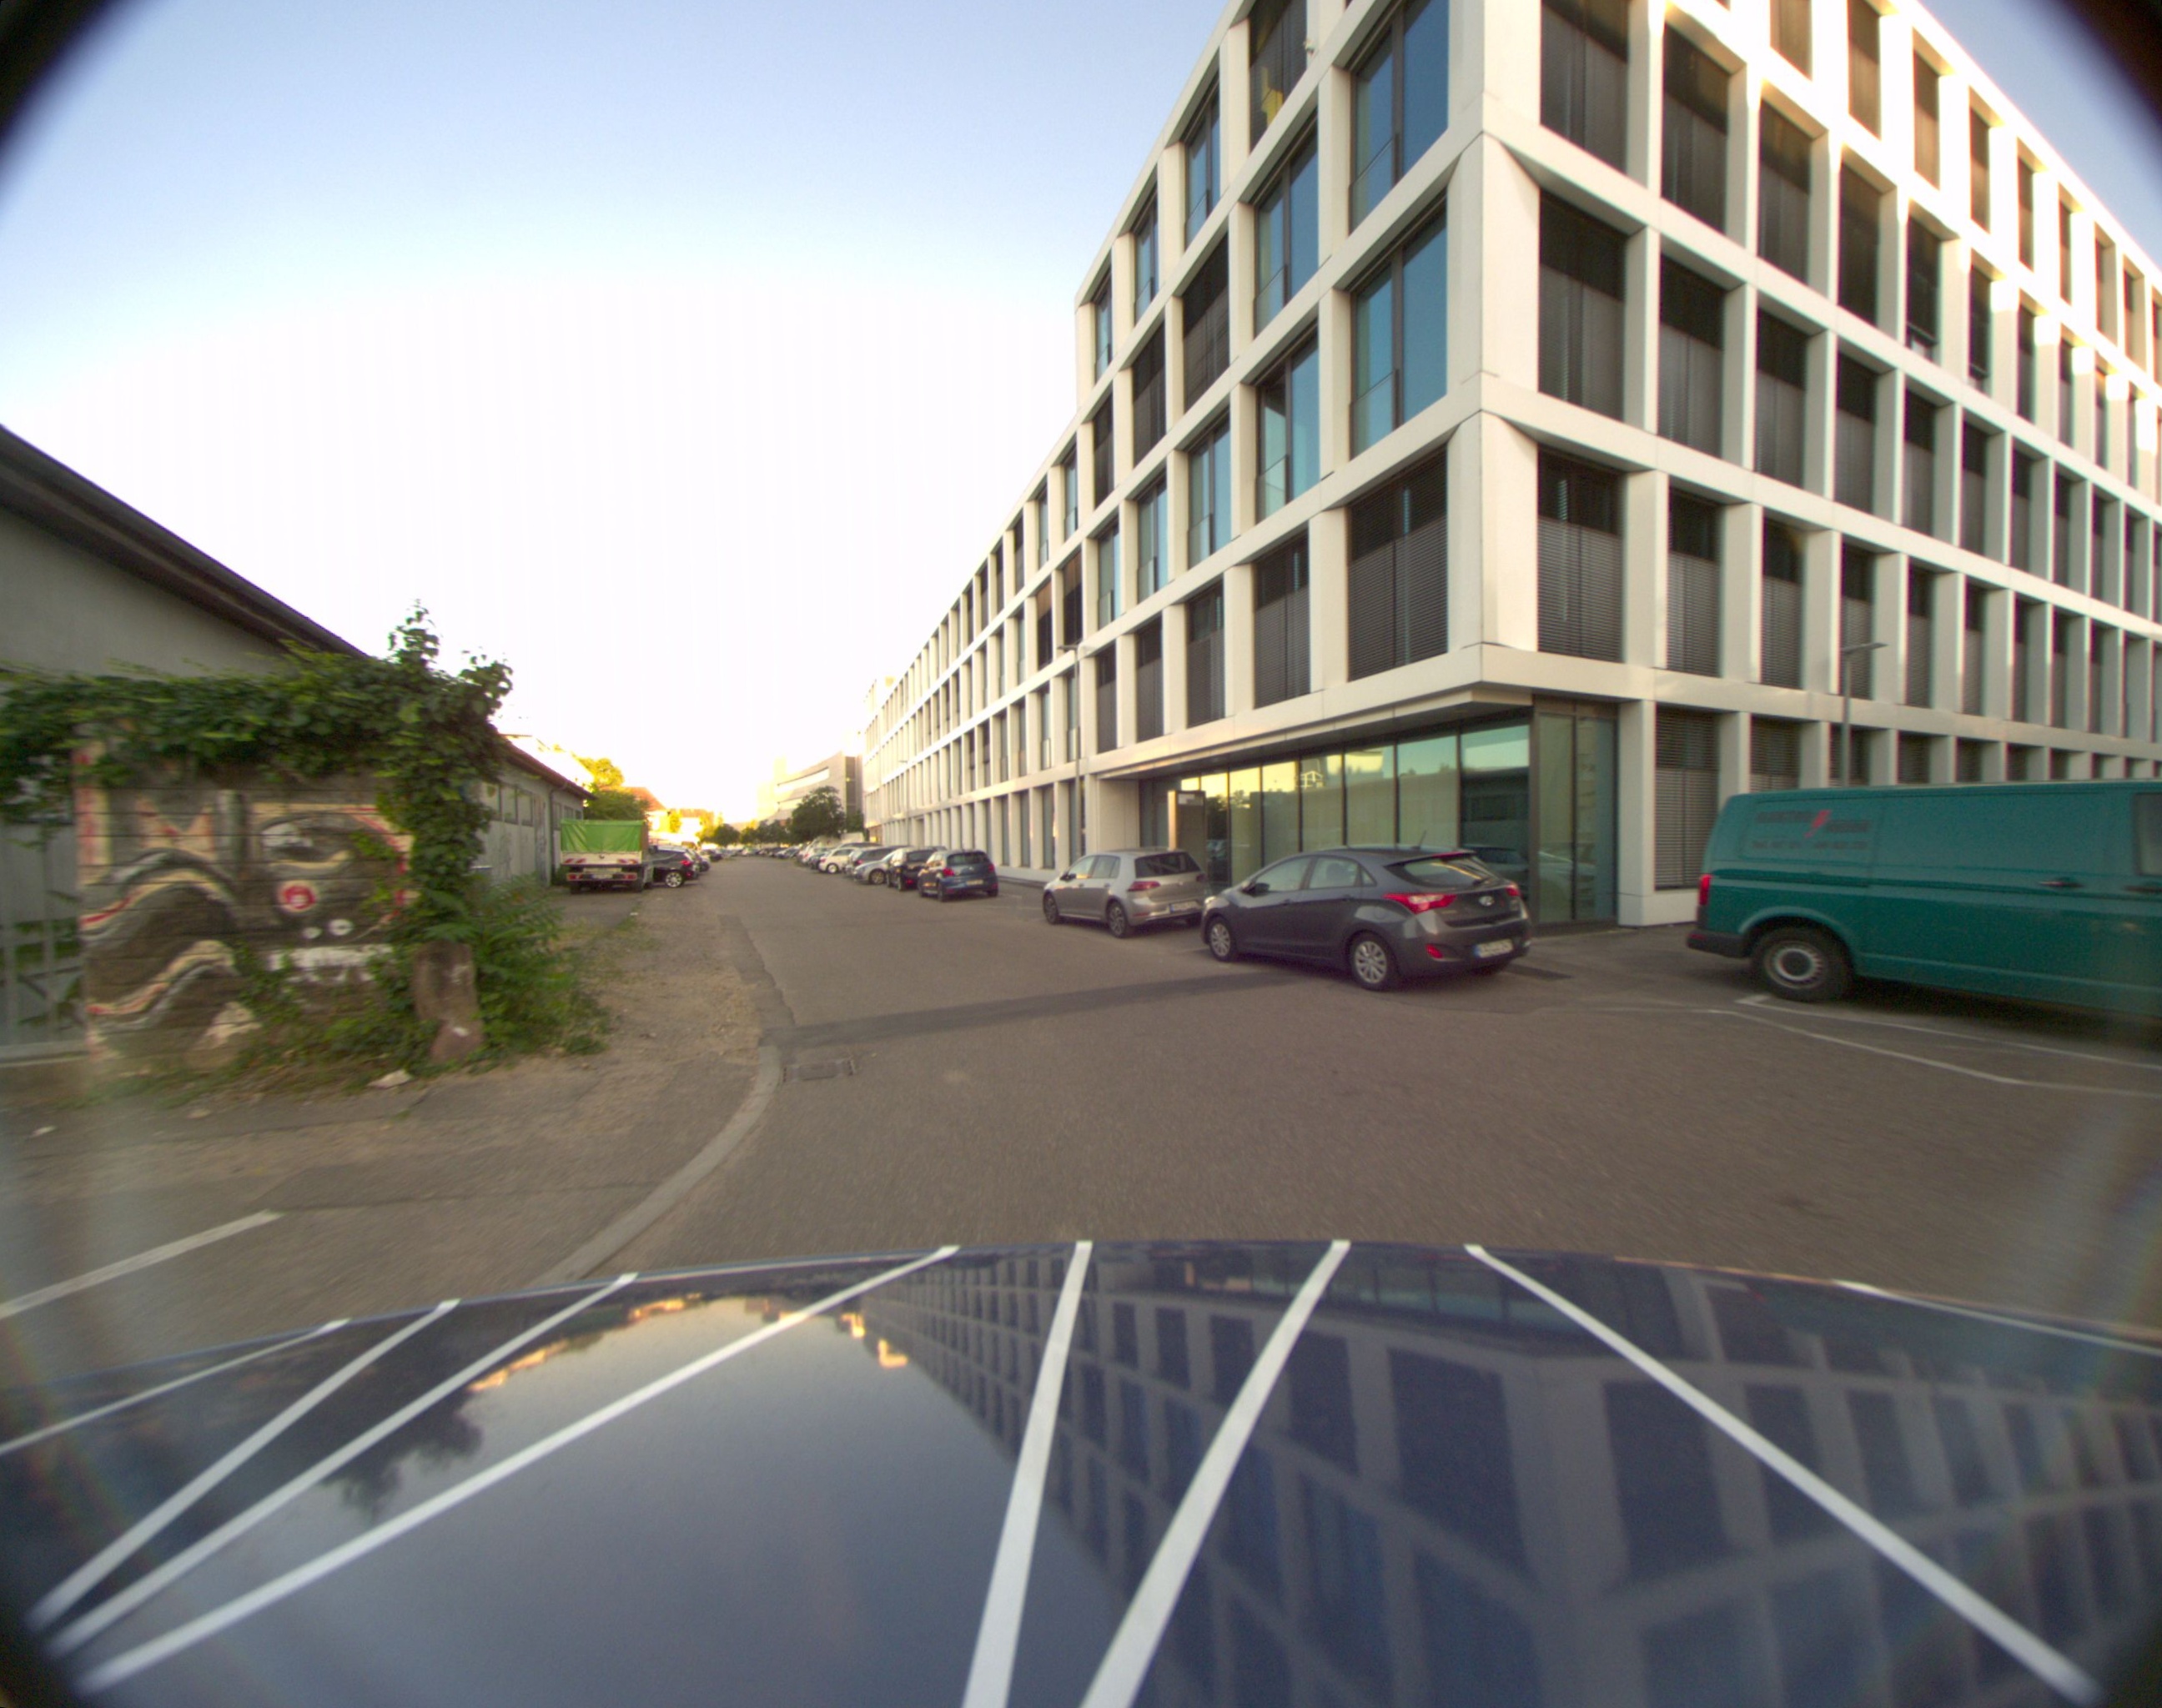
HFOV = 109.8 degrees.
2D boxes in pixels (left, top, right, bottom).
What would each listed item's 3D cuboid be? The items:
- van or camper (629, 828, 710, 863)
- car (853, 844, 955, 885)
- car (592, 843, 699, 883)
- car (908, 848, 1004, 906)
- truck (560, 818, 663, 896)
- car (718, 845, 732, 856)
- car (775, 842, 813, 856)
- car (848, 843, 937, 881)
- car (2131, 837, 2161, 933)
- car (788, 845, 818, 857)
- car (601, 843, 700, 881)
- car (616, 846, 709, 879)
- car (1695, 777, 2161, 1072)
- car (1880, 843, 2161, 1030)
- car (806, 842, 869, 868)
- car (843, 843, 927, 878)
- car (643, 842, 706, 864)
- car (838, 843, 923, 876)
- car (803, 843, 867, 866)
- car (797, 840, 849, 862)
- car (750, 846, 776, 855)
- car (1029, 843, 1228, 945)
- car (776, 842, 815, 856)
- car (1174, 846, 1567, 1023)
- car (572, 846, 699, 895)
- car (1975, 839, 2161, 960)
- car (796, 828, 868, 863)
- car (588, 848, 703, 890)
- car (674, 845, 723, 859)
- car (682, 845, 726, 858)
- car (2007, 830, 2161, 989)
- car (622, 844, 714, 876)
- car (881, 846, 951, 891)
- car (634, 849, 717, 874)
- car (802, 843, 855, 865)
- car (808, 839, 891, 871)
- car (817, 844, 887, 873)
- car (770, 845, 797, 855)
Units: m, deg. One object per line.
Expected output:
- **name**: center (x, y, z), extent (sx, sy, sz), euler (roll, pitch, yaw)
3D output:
- **van or camper**: center (-34.451, -0.705, 63.814), extent (5.807, 2.848, 2.481), euler (0, 1, -26)
- **car**: center (-7.445, 0.405, 31.976), extent (3.943, 1.503, 1.684), euler (-3, 1, -22)
- **car**: center (-19.601, 0.379, 34.430), extent (4.001, 1.600, 1.934), euler (-3, 2, -26)
- **car**: center (-3.861, 0.610, 22.884), extent (1.655, 1.431, 4.175), euler (-5, 3, -25)
- **truck**: center (-14.775, 0.102, 24.257), extent (2.107, 2.187, 5.699), euler (-1, 0, -25)
- **car**: center (-48.332, -0.439, 103.142), extent (1.684, 1.454, 4.358), euler (-1, 1, -25)
- **car**: center (-44.371, -0.806, 117.482), extent (5.092, 1.817, 1.884), euler (-4, 2, -29)
- **car**: center (-8.579, 0.340, 34.505), extent (3.670, 1.503, 1.684), euler (-3, 2, -22)
- **car**: center (18.082, 0.553, 10.298), extent (1.737, 1.448, 4.188), euler (-2, 3, -25)
- **car**: center (-38.744, -0.458, 105.915), extent (3.661, 1.539, 1.722), euler (-3, 2, -24)
- **car**: center (-20.773, 0.336, 36.841), extent (4.002, 1.610, 1.823), euler (-3, 2, -28)
- **car**: center (-21.565, 0.416, 39.331), extent (4.001, 1.437, 1.823), euler (-2, 3, -24)
- **car**: center (7.875, 0.445, 5.740), extent (1.806, 1.969, 4.678), euler (-2, 2, -25)
- **car**: center (10.377, 0.760, 6.607), extent (1.787, 1.541, 4.320), euler (-2, 3, -25)
- **car**: center (-16.418, 0.051, 51.171), extent (3.798, 1.514, 1.690), euler (-3, 2, -25)
- **car**: center (-9.441, 0.279, 36.626), extent (3.670, 1.503, 1.684), euler (-3, 2, -22)
- **car**: center (-32.746, -0.086, 61.314), extent (4.259, 1.731, 1.964), euler (0, 1, -20)
- **car**: center (-10.329, 0.275, 39.102), extent (3.981, 1.503, 1.792), euler (-3, 1, -21)
- **car**: center (-18.108, -0.003, 55.940), extent (4.326, 1.487, 1.791), euler (-3, 1, -21)
- **car**: center (-22.932, -0.288, 67.533), extent (4.127, 1.807, 1.812), euler (-3, 2, -27)
- **car**: center (-57.180, -0.606, 136.534), extent (4.035, 1.340, 1.795), euler (-4, 2, -35)
- **car**: center (0.701, 0.608, 14.148), extent (1.717, 1.471, 4.175), euler (-5, 3, -27)
- **car**: center (-42.416, -0.758, 112.808), extent (5.092, 1.870, 1.884), euler (-4, 2, -29)
- **car**: center (3.041, 0.689, 9.037), extent (1.787, 1.471, 4.321), euler (-3, 2, -25)
- **car**: center (-16.266, 0.570, 27.979), extent (3.776, 1.527, 1.887), euler (-2, 3, -23)
- **car**: center (14.558, 0.608, 9.376), extent (1.737, 1.448, 4.188), euler (-2, 3, -25)
- **car**: center (-20.546, -0.711, 62.629), extent (5.403, 2.618, 2.074), euler (-3, 2, -22)
- **car**: center (-17.201, 0.559, 30.224), extent (3.776, 1.436, 1.841), euler (-3, 3, -26)
- **car**: center (-38.769, -0.206, 77.068), extent (4.335, 1.326, 1.892), euler (0, 1, -27)
- **car**: center (-39.433, -0.264, 79.424), extent (4.074, 1.399, 1.892), euler (0, 0, -27)
- **car**: center (12.750, 0.637, 7.427), extent (1.737, 1.650, 4.320), euler (-2, 3, -25)
- **car**: center (-22.570, 0.302, 41.693), extent (4.220, 1.495, 1.885), euler (-2, 3, -23)
- **car**: center (-6.237, 0.474, 28.435), extent (1.655, 1.431, 4.193), euler (-5, 3, -23)
- **car**: center (-24.647, 0.437, 46.307), extent (4.220, 1.359, 1.819), euler (-2, 2, -21)
- **car**: center (-19.336, 0.009, 58.168), extent (3.724, 1.487, 1.704), euler (-3, 2, -23)
- **car**: center (-13.897, 0.030, 45.600), extent (4.637, 1.696, 2.001), euler (-2, 1, -19)
- **car**: center (-13.005, 0.237, 43.183), extent (3.681, 1.503, 1.693), euler (-2, 1, -19)
- **car**: center (-47.477, -0.684, 121.246), extent (3.819, 1.353, 1.795), euler (-4, 2, -29)
